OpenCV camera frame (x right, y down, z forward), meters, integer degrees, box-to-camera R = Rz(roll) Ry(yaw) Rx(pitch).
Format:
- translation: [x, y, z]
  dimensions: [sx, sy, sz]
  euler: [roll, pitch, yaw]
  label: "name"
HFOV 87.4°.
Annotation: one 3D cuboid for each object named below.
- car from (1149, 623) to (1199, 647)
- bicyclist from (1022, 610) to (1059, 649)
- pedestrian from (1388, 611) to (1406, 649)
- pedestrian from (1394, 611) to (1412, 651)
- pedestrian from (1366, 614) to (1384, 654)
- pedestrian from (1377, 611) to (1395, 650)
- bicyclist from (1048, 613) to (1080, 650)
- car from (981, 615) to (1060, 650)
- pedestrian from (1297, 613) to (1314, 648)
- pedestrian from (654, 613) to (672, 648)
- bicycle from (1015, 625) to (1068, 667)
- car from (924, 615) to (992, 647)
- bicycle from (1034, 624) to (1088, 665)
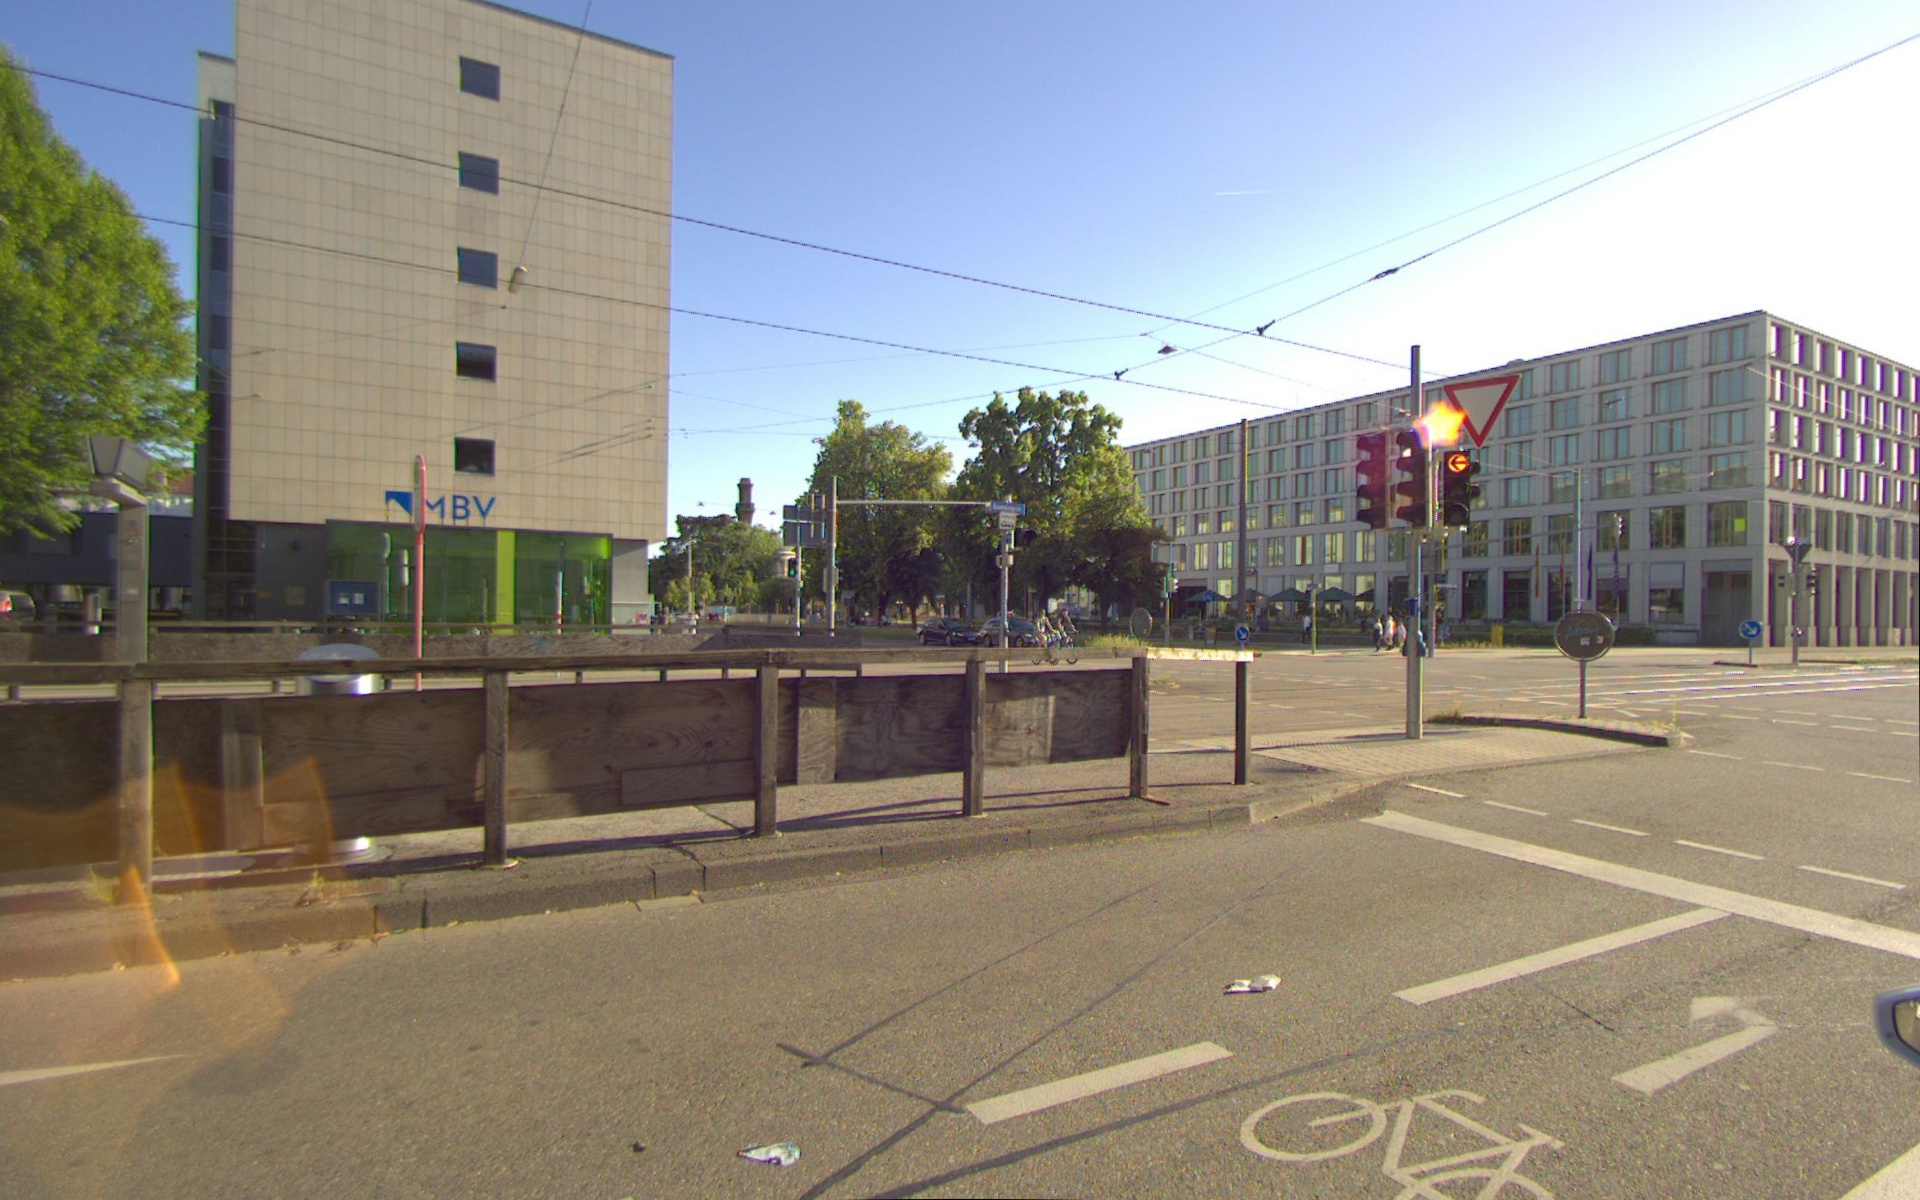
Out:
- translation: [13.495, 2.213, 63.357]
  dimensions: [1.452, 1.457, 3.174]
  euler: [1, -1, -26]
  label: "car"
- translation: [2.630, 0.956, 32.891]
  dimensions: [0.788, 1.235, 0.920]
  euler: [1, -1, -33]
  label: "bicyclist"
- translation: [23.373, 1.601, 53.715]
  dimensions: [0.793, 2.040, 0.526]
  euler: [1, -1, -36]
  label: "pedestrian"
- translation: [22.922, 1.619, 51.974]
  dimensions: [0.793, 2.040, 0.526]
  euler: [1, -1, -36]
  label: "pedestrian"
- translation: [21.492, 1.758, 52.035]
  dimensions: [0.793, 2.040, 0.526]
  euler: [1, -1, -36]
  label: "pedestrian"
- translation: [22.379, 1.606, 52.806]
  dimensions: [0.793, 2.040, 0.526]
  euler: [1, -1, -36]
  label: "pedestrian"
- translation: [3.461, 1.044, 33.578]
  dimensions: [0.788, 1.235, 0.717]
  euler: [1, -1, -31]
  label: "bicyclist"
- translation: [2.803, 1.522, 47.615]
  dimensions: [1.708, 1.595, 4.140]
  euler: [1, -1, -31]
  label: "car"
- translation: [19.270, 1.717, 56.046]
  dimensions: [0.672, 1.928, 0.560]
  euler: [1, -1, -21]
  label: "pedestrian"
- translation: [-13.504, 1.381, 45.666]
  dimensions: [0.593, 1.561, 0.620]
  euler: [1, -1, -32]
  label: "pedestrian"
- translation: [2.648, 1.502, 32.874]
  dimensions: [0.783, 1.308, 1.840]
  euler: [1, -1, -33]
  label: "bicycle"
- translation: [-0.143, 1.588, 52.591]
  dimensions: [1.801, 1.595, 3.967]
  euler: [0, 0, -31]
  label: "car"
- translation: [3.368, 1.486, 33.700]
  dimensions: [0.783, 1.308, 1.975]
  euler: [1, -1, -31]
  label: "bicycle"
